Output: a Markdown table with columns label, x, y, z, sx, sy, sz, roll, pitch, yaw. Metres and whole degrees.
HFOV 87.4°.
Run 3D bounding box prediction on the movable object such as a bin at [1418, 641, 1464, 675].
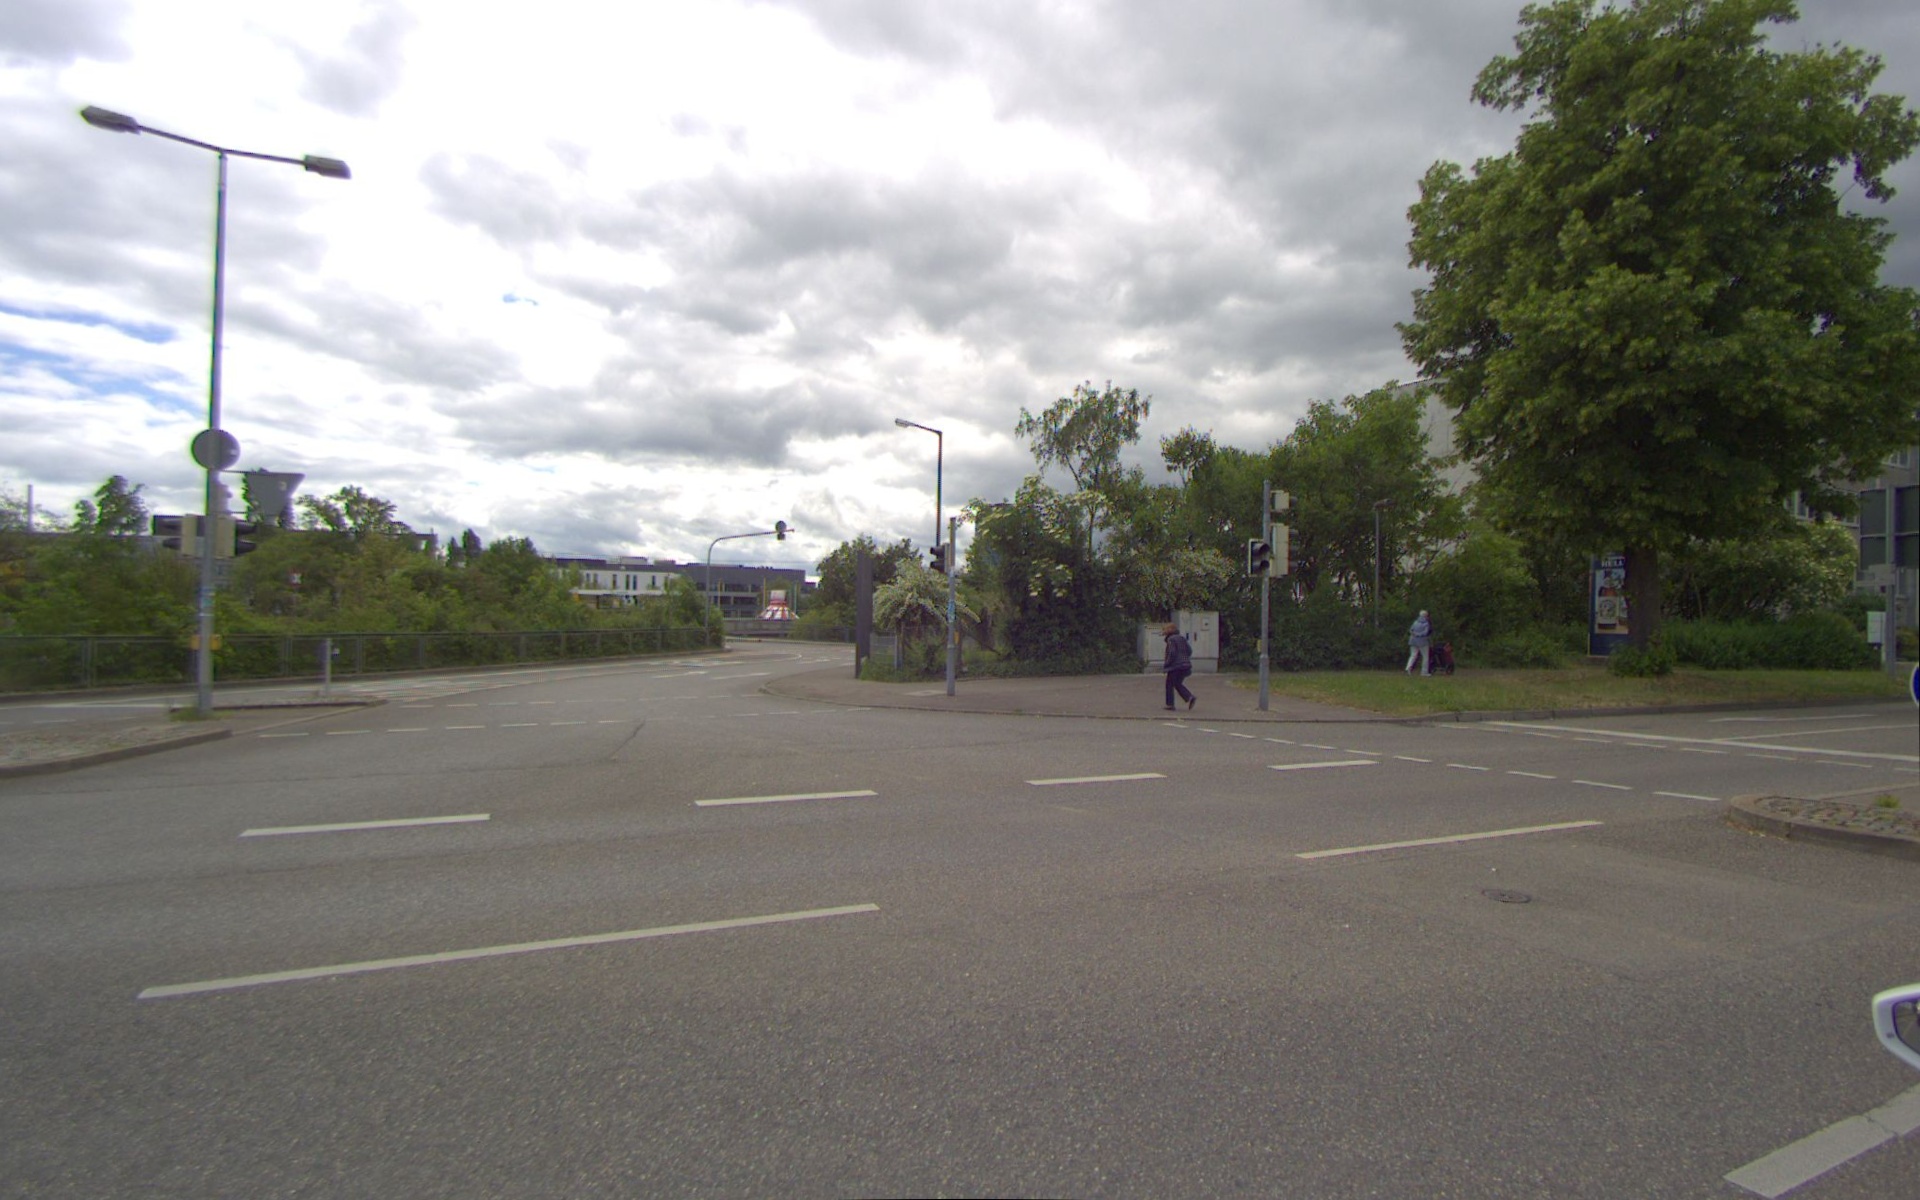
| label | x | y | z | sx | sy | sz | roll | pitch | yaw |
| --- | --- | --- | --- | --- | --- | --- | --- | --- | --- |
| movable object such as a bin | 11.715 | 1.405 | 24.455 | 0.887 | 0.809 | 0.652 | 1 | -1 | -32 |

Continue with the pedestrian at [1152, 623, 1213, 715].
| label | x | y | z | sx | sy | sz | roll | pitch | yaw |
| --- | --- | --- | --- | --- | --- | --- | --- | --- | --- |
| pedestrian | 3.720 | 1.127 | 16.797 | 0.596 | 1.427 | 0.766 | -2 | 4 | -41 |

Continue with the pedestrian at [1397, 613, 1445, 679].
| label | x | y | z | sx | sy | sz | roll | pitch | yaw |
| --- | --- | --- | --- | --- | --- | --- | --- | --- | --- |
| pedestrian | 11.019 | 1.077 | 24.016 | 0.913 | 1.542 | 0.652 | 1 | -1 | -32 |
